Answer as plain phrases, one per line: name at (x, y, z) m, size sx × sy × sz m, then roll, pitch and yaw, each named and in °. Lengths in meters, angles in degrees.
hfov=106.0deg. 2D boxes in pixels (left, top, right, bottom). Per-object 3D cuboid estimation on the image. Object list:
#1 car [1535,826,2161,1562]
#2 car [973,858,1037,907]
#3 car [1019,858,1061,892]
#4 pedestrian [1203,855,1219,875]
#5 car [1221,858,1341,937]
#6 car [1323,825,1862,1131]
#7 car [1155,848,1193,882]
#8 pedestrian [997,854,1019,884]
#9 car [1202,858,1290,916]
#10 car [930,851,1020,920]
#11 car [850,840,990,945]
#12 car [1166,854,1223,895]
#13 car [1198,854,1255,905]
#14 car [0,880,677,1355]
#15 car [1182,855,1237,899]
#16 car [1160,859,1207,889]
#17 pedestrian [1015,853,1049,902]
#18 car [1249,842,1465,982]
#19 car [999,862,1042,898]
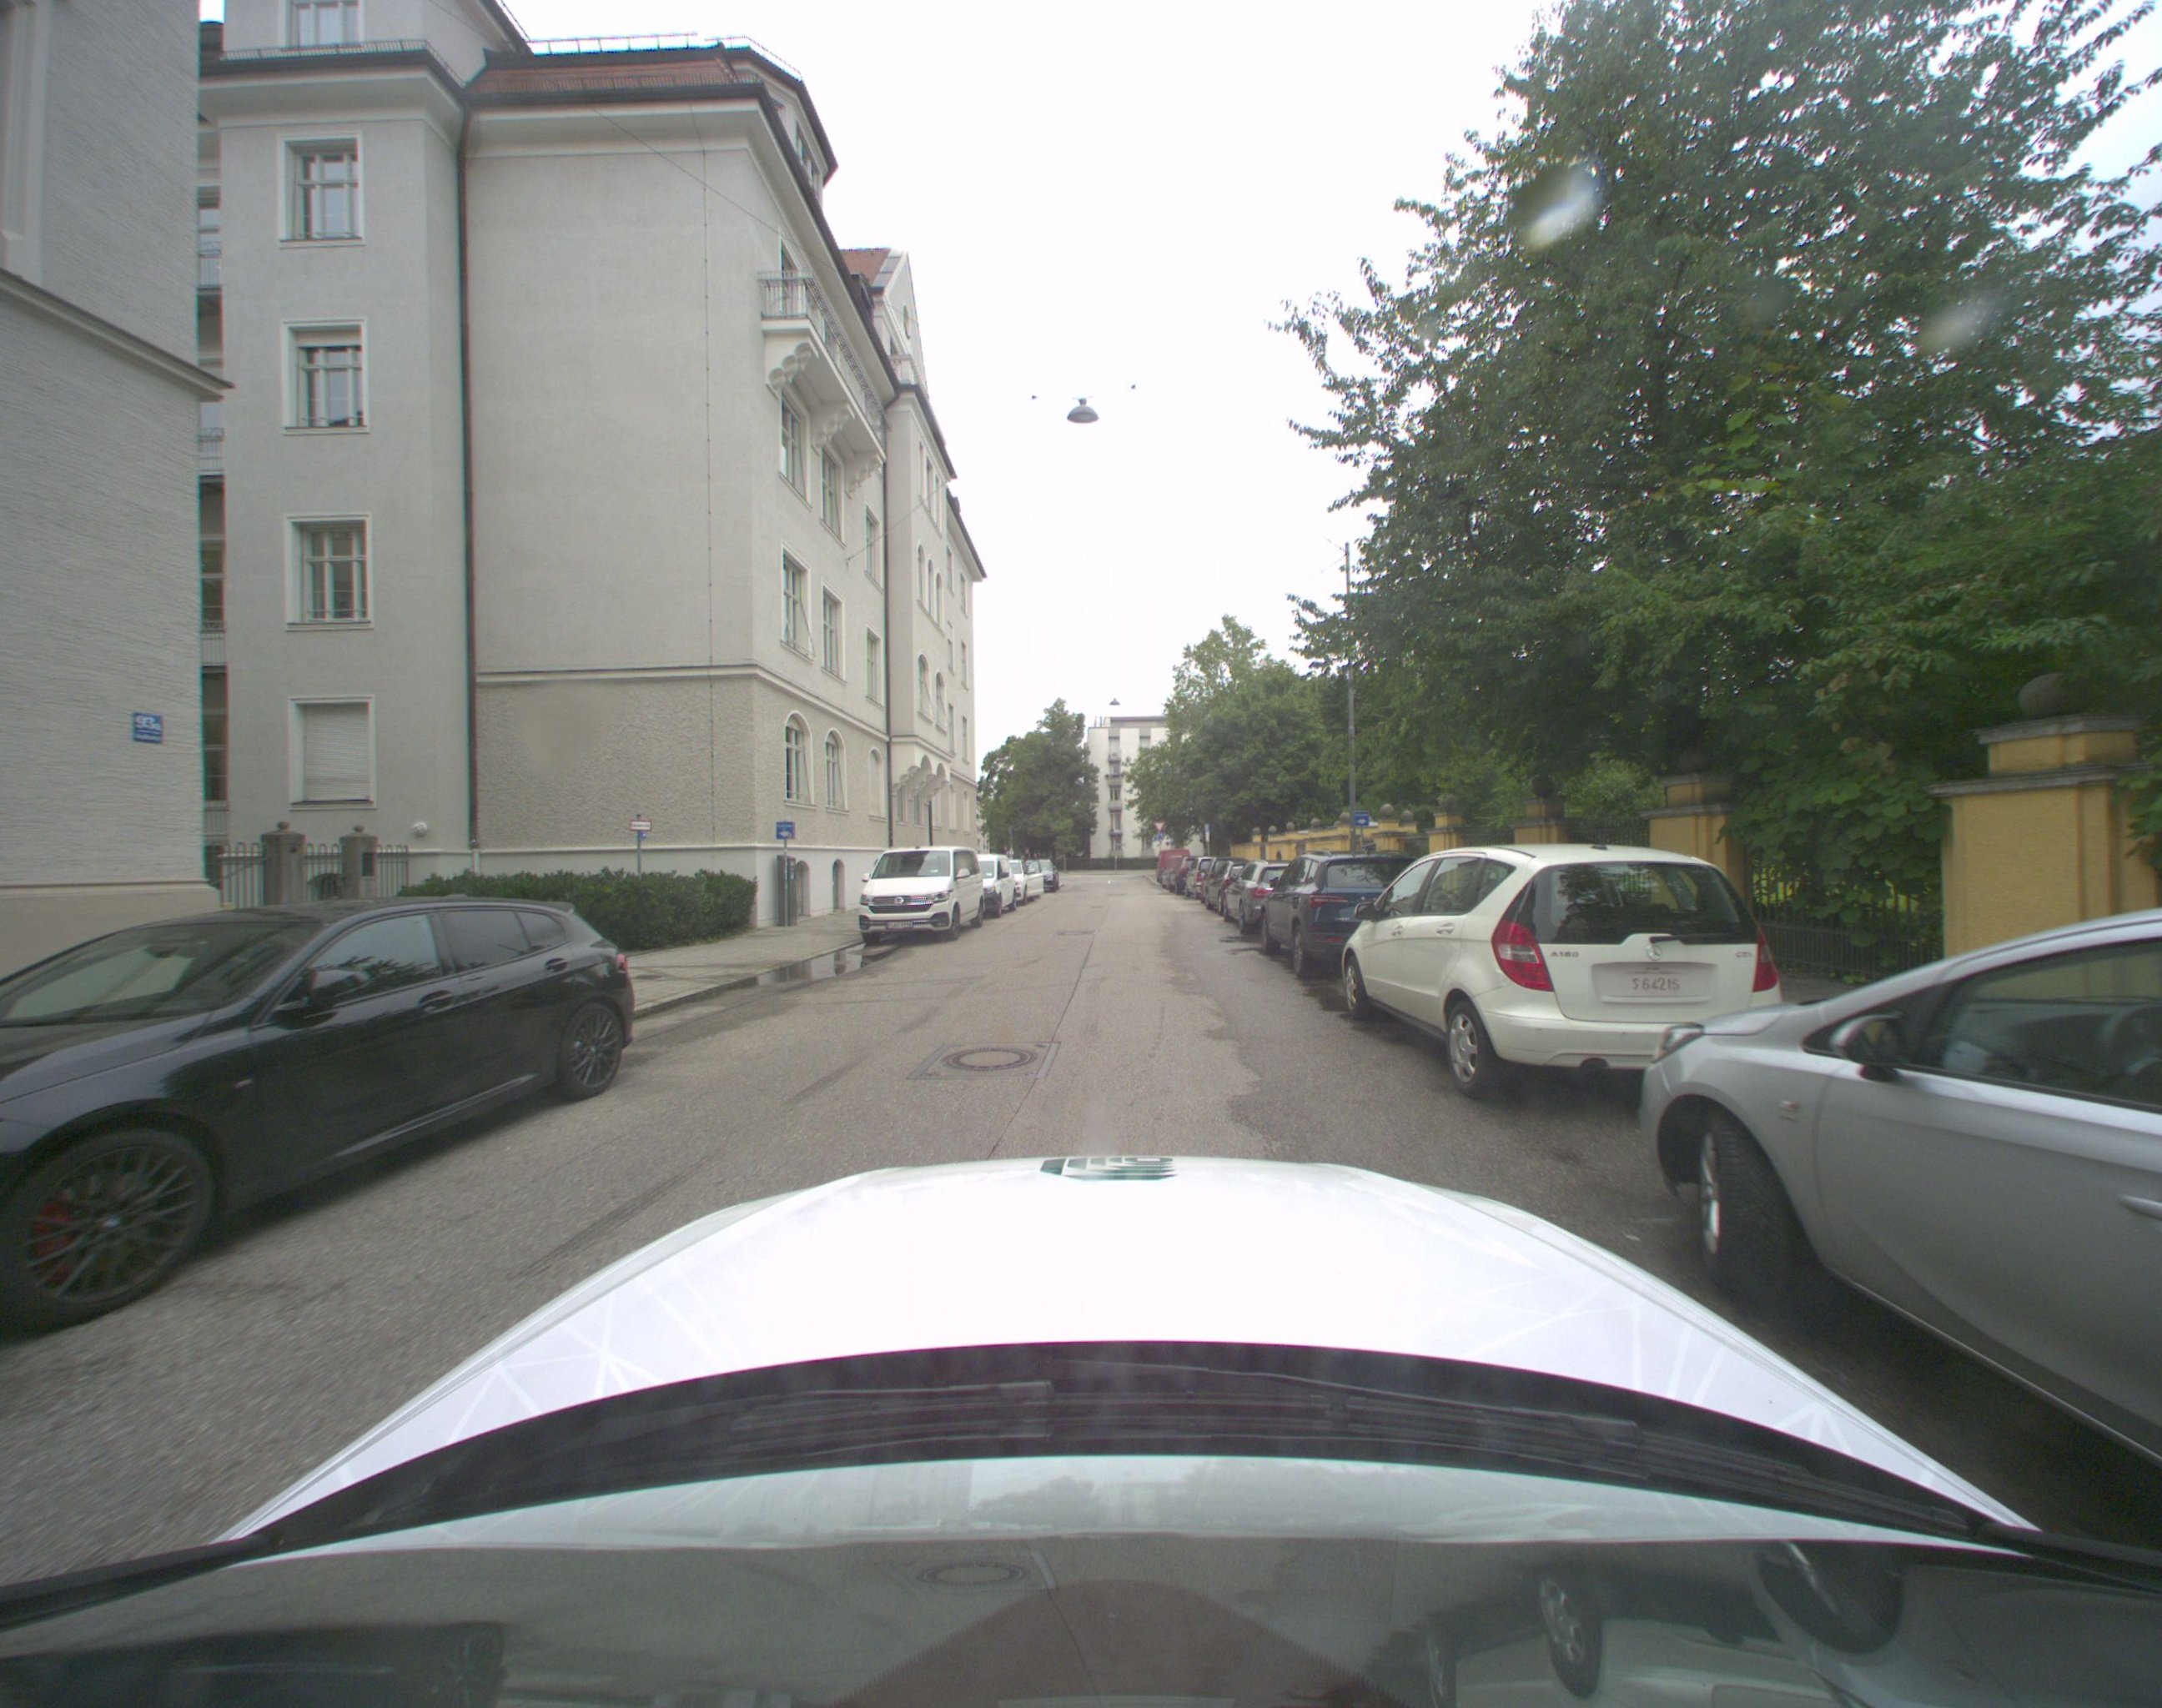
car at (2.986, 0.653, 1.873) m, size 1.706 × 1.453 × 4.187 m, roll -1°, pitch 0°, yaw 3°
car at (-2.691, 0.988, 29.955) m, size 1.740 × 1.602 × 4.498 m, roll -2°, pitch 0°, yaw 2°
car at (-2.064, 1.027, 41.804) m, size 1.740 × 1.602 × 4.498 m, roll -2°, pitch 0°, yaw 2°
pedestrian at (8.723, 0.749, 54.559) m, size 1.004 × 1.338 × 0.878 m, roll -1°, pitch -1°, yaw 6°
car at (4.056, 0.816, 17.217) m, size 1.684 × 1.414 × 4.520 m, roll -1°, pitch 0°, yaw 4°
car at (3.315, 0.665, 6.439) m, size 1.706 × 1.571 × 4.323 m, roll -1°, pitch 0°, yaw 3°
car at (5.376, 0.617, 47.622) m, size 1.867 × 1.920 × 4.889 m, roll 0°, pitch 0°, yaw 2°
pedestrian at (-4.443, 0.888, 49.379) m, size 1.055 × 1.771 × 0.868 m, roll -1°, pitch -1°, yaw -30°
car at (4.425, 0.837, 22.365) m, size 1.685 × 1.414 × 4.038 m, roll 1°, pitch 0°, yaw 2°
car at (-3.021, 0.848, 24.302) m, size 1.740 × 1.788 × 5.040 m, roll -2°, pitch 0°, yaw 2°
car at (-3.349, 0.749, 17.992) m, size 1.848 × 1.938 × 4.960 m, roll -2°, pitch 0°, yaw 2°
car at (4.912, 0.856, 35.791) m, size 1.878 × 1.653 × 4.824 m, roll 1°, pitch 0°, yaw 1°
car at (4.688, 0.789, 26.475) m, size 1.501 × 1.566 × 2.872 m, roll 1°, pitch 0°, yaw 4°
car at (-4.316, 0.944, 4.399) m, size 1.848 × 1.412 × 4.382 m, roll -2°, pitch 0°, yaw 3°
car at (4.819, 0.825, 30.906) m, size 1.479 × 1.539 × 3.692 m, roll 1°, pitch 0°, yaw 0°
car at (5.221, 0.979, 41.884) m, size 1.878 × 1.448 × 4.368 m, roll 1°, pitch 0°, yaw 0°
pedestrian at (-1.826, 0.863, 30.248) m, size 0.966 × 1.756 × 0.869 m, roll -1°, pitch 0°, yaw -28°
car at (3.646, 0.681, 11.686) m, size 1.706 × 1.571 × 4.695 m, roll -1°, pitch 0°, yaw 3°
car at (-2.600, 1.069, 35.006) m, size 1.689 × 1.414 × 3.656 m, roll -2°, pitch 0°, yaw -5°
